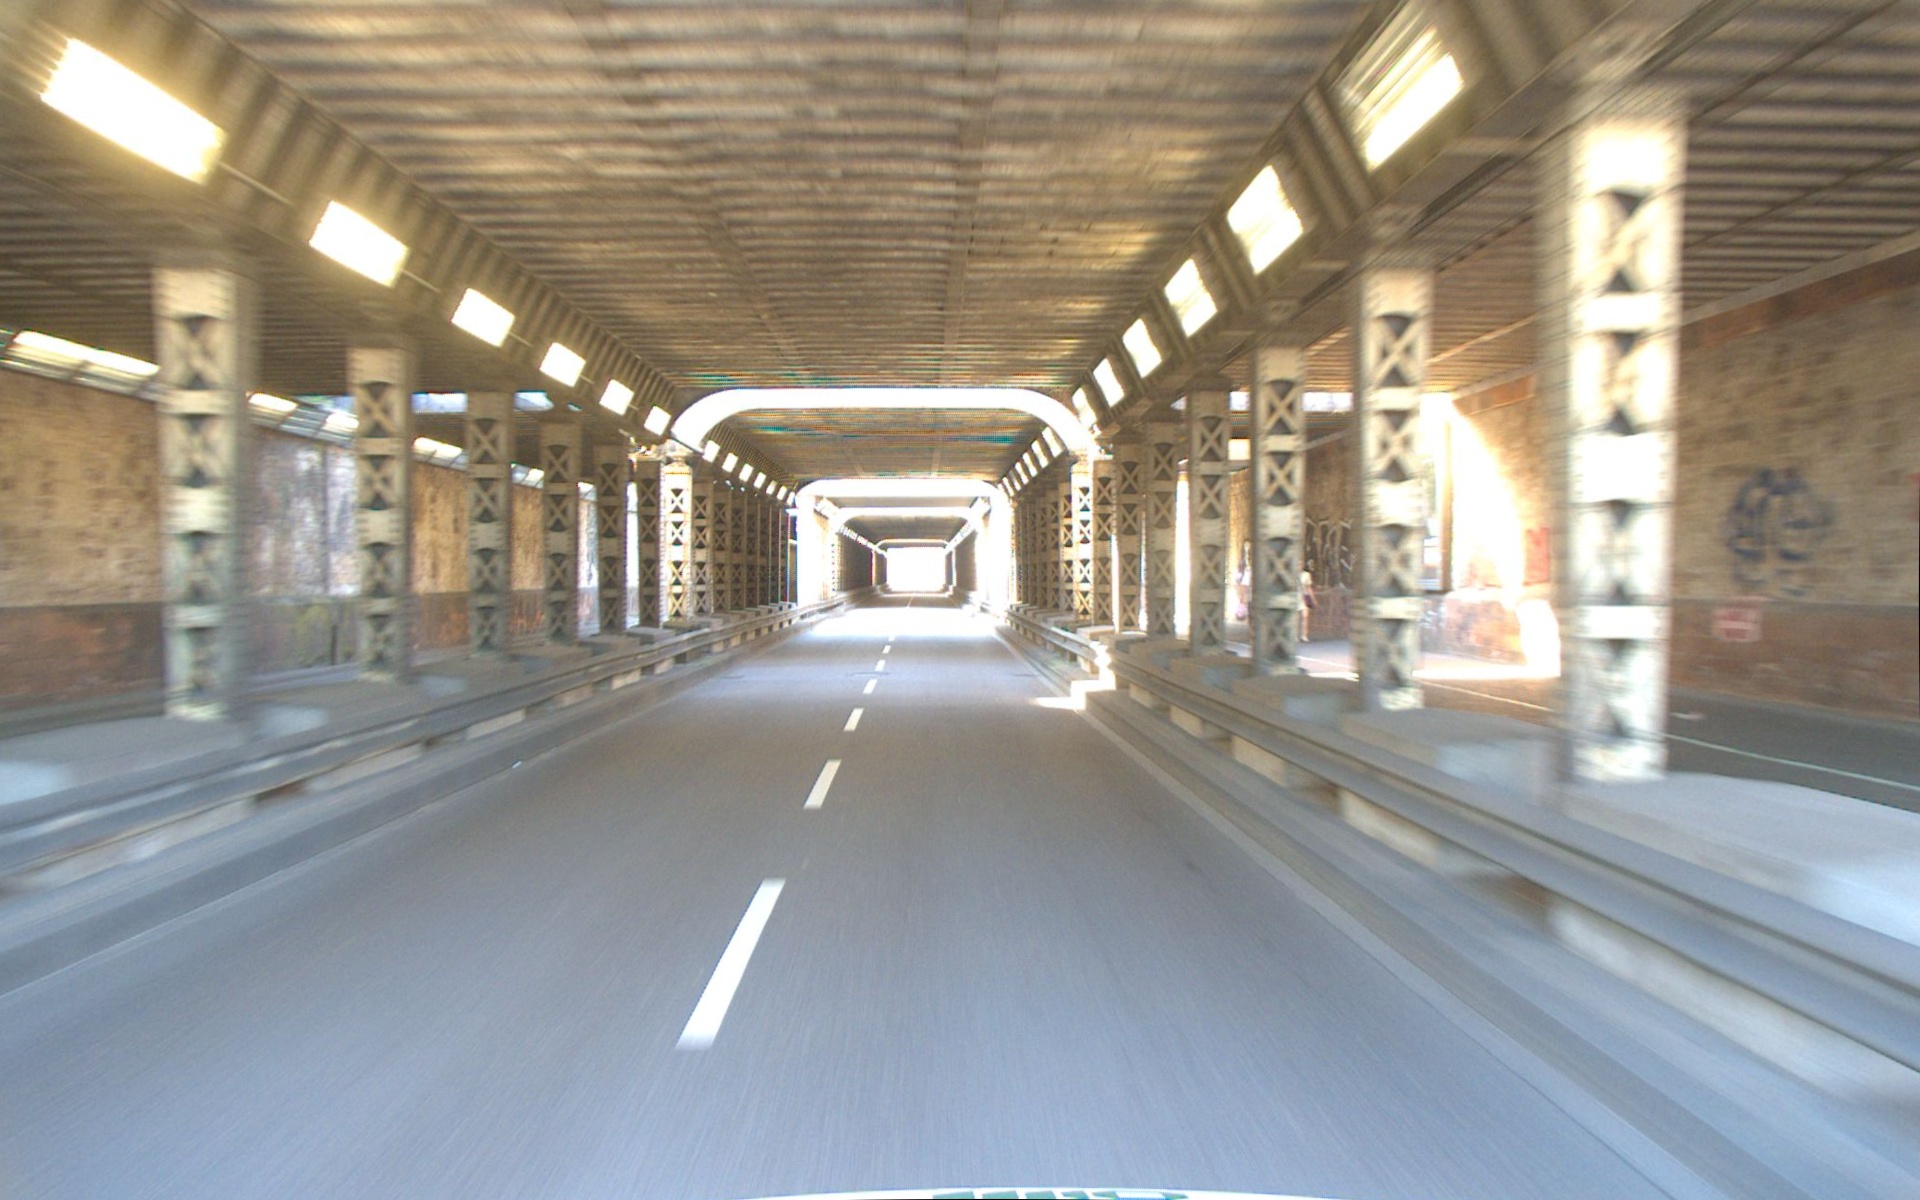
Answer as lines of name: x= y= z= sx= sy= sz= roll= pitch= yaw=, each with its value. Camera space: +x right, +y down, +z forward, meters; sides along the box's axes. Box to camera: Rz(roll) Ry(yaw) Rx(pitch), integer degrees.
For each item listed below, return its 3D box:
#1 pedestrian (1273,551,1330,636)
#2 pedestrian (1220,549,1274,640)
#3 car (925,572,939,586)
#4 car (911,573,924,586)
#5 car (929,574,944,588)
pedestrian: x=7.036 y=-0.138 z=34.102 sx=0.898 sy=1.685 sz=0.885 roll=-2 pitch=1 yaw=-5
pedestrian: x=6.042 y=-0.128 z=34.887 sx=0.863 sy=1.867 sz=0.922 roll=-2 pitch=1 yaw=-5
car: x=-4.011 y=-2.968 z=232.960 sx=1.953 sy=1.815 sz=3.999 roll=0 pitch=1 yaw=-1
car: x=-6.144 y=-2.978 z=239.304 sx=1.953 sy=1.815 sz=3.999 roll=0 pitch=1 yaw=-1
car: x=-3.146 y=-2.578 z=223.770 sx=1.953 sy=1.815 sz=3.999 roll=0 pitch=1 yaw=-1
